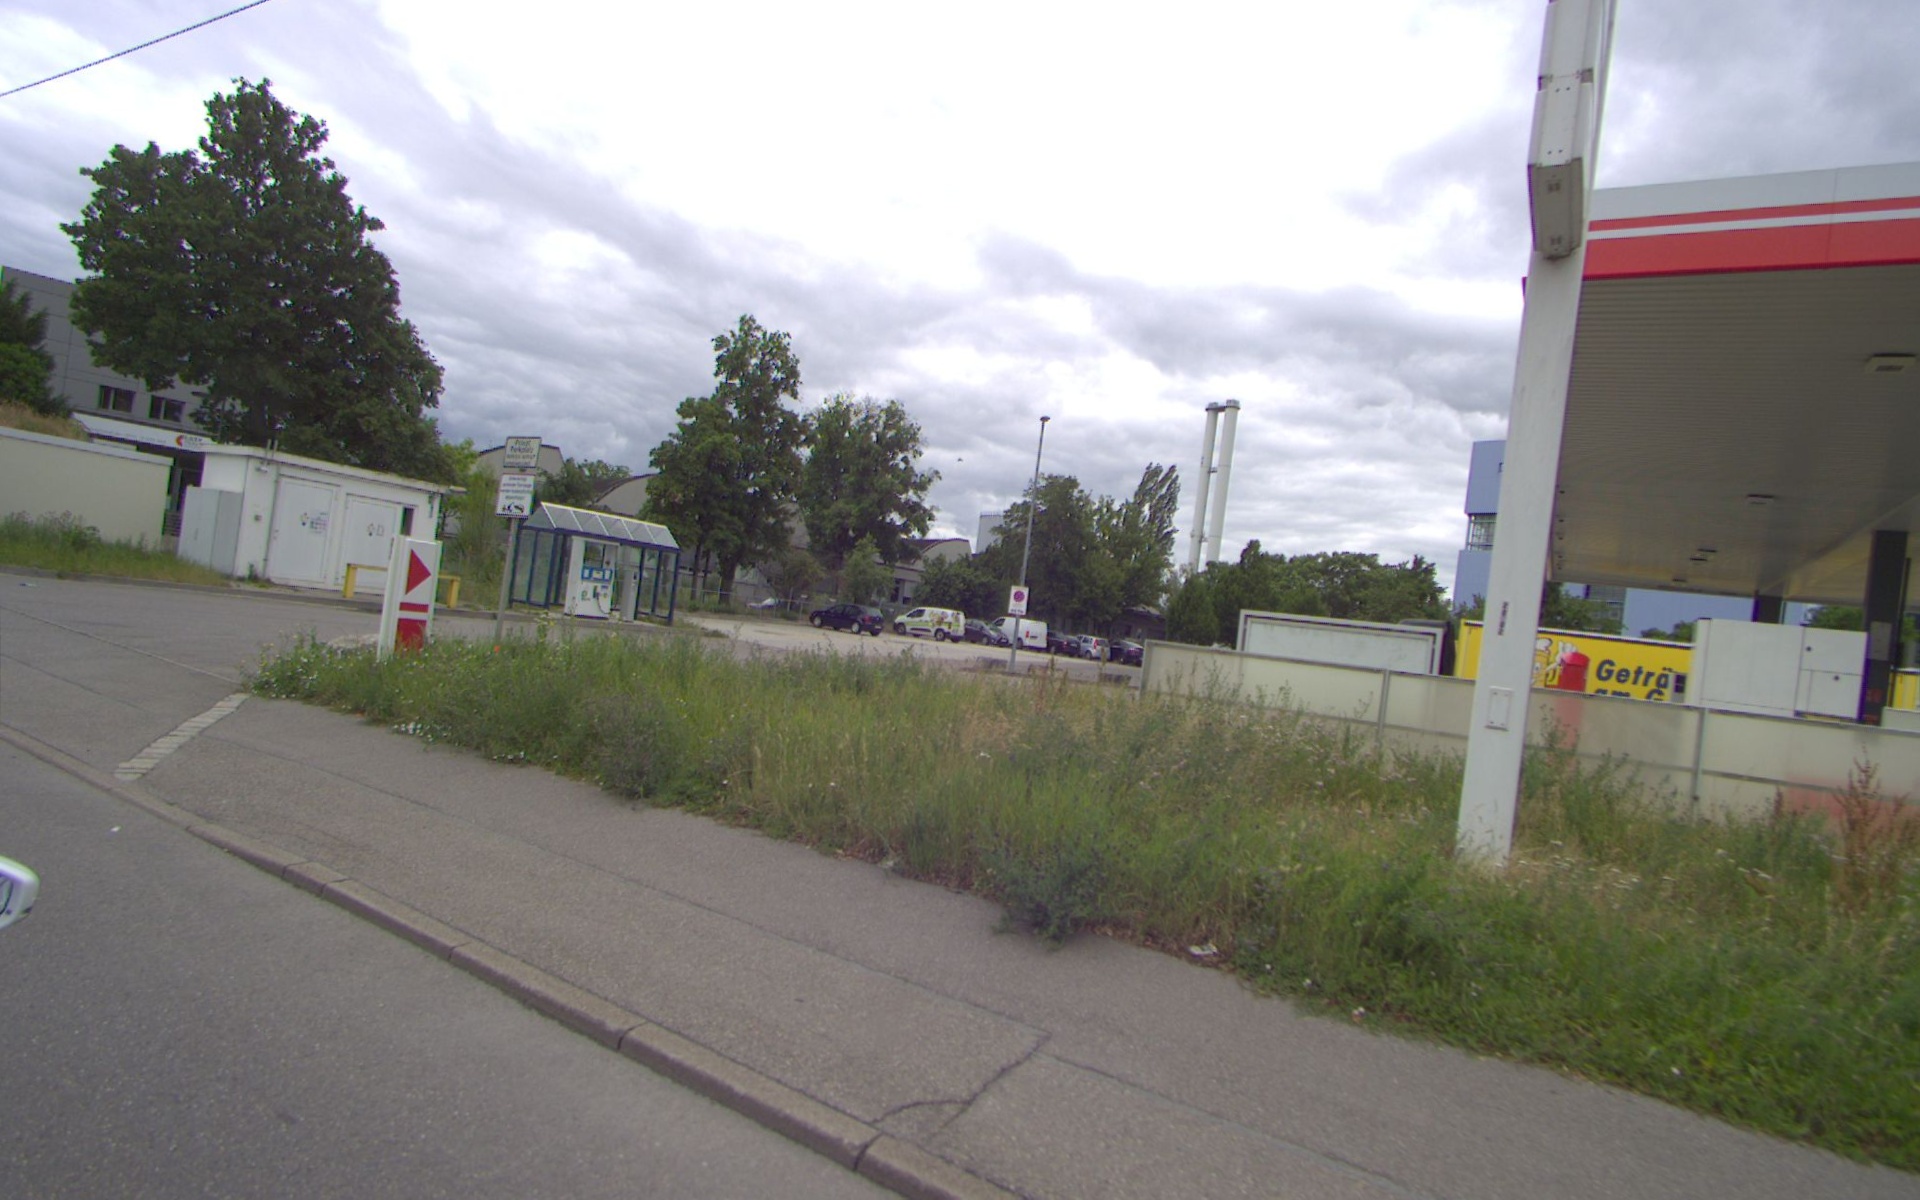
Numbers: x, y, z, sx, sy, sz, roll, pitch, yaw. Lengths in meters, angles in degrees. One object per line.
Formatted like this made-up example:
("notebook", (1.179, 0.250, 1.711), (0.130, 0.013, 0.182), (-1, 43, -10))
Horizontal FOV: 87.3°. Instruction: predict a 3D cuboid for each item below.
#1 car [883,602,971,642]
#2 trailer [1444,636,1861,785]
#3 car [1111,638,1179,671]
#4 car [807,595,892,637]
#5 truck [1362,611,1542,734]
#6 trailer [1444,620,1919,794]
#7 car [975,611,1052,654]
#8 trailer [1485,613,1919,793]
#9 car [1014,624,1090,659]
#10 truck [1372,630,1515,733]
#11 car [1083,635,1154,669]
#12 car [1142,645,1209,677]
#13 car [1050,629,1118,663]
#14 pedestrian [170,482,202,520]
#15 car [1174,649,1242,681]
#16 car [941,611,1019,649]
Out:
("car", (-1.915, 1.271, 57.728), (4.576, 1.665, 1.965), (7, -1, 31))
("trailer", (31.761, 4.920, 47.565), (15.461, 4.312, 3.025), (7, 0, 31))
("car", (12.800, 3.763, 69.867), (1.947, 1.671, 4.285), (8, -1, -36))
("car", (-5.536, 0.806, 50.198), (3.820, 1.548, 1.735), (7, -1, 33))
("truck", (19.848, 2.867, 40.641), (5.939, 3.962, 2.962), (7, 0, 31))
("trailer", (25.891, 3.631, 36.988), (14.062, 3.962, 3.005), (7, 0, 31))
("car", (3.379, 2.037, 64.297), (2.084, 2.128, 4.854), (8, -1, -36))
("trailer", (28.959, 3.788, 39.701), (14.062, 4.780, 3.004), (7, 0, 31))
("car", (5.952, 2.690, 65.727), (2.084, 1.671, 4.916), (8, -1, -36))
("truck", (24.841, 4.121, 51.745), (5.939, 4.314, 3.049), (7, 0, 31))
("car", (10.719, 3.475, 68.218), (1.989, 1.671, 4.557), (8, -1, -36))
("car", (15.298, 4.315, 71.574), (1.878, 1.612, 4.324), (8, -1, -36))
("car", (8.260, 3.077, 67.159), (1.892, 1.671, 4.354), (8, -1, -36))
("pedestrian", (-40.091, -5.136, 52.125), (0.907, 1.773, 0.794), (7, 0, -18))
("car", (17.789, 4.670, 72.313), (1.885, 1.671, 4.362), (8, -1, -36))
("car", (1.215, 1.849, 62.472), (2.086, 1.757, 4.830), (8, -1, -39))
